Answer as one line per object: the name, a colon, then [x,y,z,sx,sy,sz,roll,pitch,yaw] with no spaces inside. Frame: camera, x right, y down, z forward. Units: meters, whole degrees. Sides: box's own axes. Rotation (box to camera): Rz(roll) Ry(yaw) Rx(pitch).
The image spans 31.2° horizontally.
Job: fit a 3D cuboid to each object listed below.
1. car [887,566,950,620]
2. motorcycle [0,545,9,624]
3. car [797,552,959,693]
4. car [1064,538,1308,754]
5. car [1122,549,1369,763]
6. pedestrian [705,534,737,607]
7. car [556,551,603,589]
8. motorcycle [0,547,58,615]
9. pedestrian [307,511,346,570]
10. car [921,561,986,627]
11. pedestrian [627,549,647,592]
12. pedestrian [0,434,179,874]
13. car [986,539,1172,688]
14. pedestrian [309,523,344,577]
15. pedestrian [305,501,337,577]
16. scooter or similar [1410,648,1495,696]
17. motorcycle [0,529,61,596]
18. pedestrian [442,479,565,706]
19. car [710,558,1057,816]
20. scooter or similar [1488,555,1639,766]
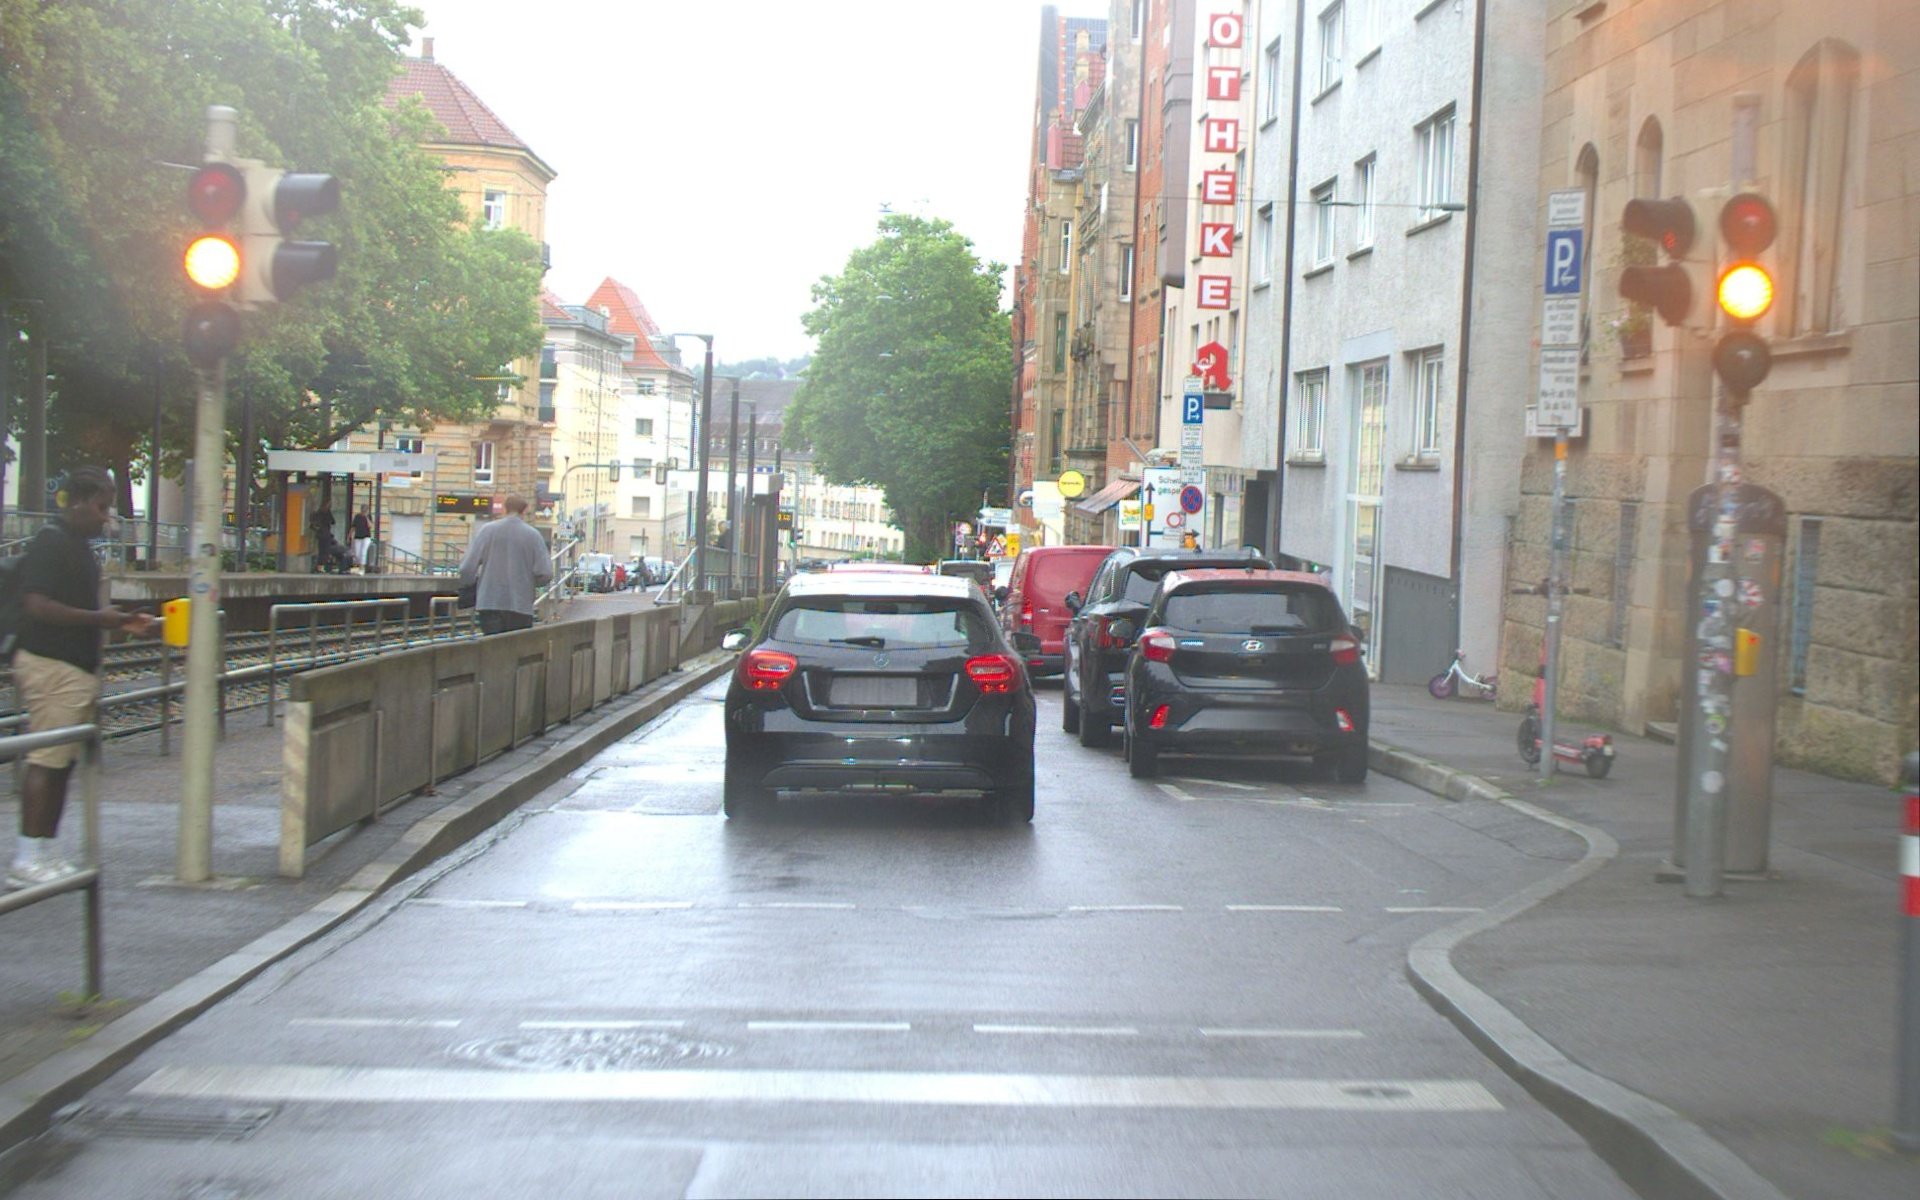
car: [-1.475,-0.253,121.088,1.933,1.825,4.281,2,0,-4]
motorcycle: [-24.162,-0.418,79.788,3.863,1.810,1.006,2,0,-3]
car: [-0.960,0.236,38.570,1.679,1.484,3.613,1,0,-3]
car: [1.893,0.352,30.009,1.765,1.703,4.499,1,0,-1]
car: [2.049,0.401,25.447,1.661,1.447,3.609,1,-1,2]
pedestrian: [-5.314,-0.657,76.559,0.496,1.599,0.636,1,0,15]
car: [-18.895,-1.487,170.841,1.993,1.853,4.000,0,0,-1]
motorcycle: [-23.913,-0.501,83.160,3.863,1.600,1.006,2,0,-3]
pedestrian: [-14.888,-1.393,80.797,0.777,1.358,0.564,2,0,-3]
car: [-0.213,-0.161,105.684,1.921,1.929,4.685,1,0,0]
pedestrian: [-13.206,-1.202,140.550,0.761,1.744,0.645,1,0,0]
pedestrian: [-3.614,0.204,13.750,0.651,1.699,0.660,2,0,22]
car: [1.519,0.188,45.863,1.974,1.832,5.246,1,0,-3]
pedestrian: [-14.997,-1.185,81.400,0.703,1.236,0.564,2,0,-3]
pedestrian: [-14.529,-1.384,78.147,0.562,1.709,0.706,2,0,-3]
scooter or similar: [5.246,0.766,36.658,0.859,0.505,0.257,0,-1,29]
motorcycle: [-24.248,-0.959,86.295,3.058,1.622,1.006,2,0,-3]
pedestrian: [-3.695,-0.061,27.872,0.859,1.793,0.787,2,0,-2]
car: [-0.443,0.455,20.870,1.894,1.385,4.000,1,1,-1]
scooter or similar: [3.955,0.374,22.633,0.366,1.311,1.569,-1,2,-14]
